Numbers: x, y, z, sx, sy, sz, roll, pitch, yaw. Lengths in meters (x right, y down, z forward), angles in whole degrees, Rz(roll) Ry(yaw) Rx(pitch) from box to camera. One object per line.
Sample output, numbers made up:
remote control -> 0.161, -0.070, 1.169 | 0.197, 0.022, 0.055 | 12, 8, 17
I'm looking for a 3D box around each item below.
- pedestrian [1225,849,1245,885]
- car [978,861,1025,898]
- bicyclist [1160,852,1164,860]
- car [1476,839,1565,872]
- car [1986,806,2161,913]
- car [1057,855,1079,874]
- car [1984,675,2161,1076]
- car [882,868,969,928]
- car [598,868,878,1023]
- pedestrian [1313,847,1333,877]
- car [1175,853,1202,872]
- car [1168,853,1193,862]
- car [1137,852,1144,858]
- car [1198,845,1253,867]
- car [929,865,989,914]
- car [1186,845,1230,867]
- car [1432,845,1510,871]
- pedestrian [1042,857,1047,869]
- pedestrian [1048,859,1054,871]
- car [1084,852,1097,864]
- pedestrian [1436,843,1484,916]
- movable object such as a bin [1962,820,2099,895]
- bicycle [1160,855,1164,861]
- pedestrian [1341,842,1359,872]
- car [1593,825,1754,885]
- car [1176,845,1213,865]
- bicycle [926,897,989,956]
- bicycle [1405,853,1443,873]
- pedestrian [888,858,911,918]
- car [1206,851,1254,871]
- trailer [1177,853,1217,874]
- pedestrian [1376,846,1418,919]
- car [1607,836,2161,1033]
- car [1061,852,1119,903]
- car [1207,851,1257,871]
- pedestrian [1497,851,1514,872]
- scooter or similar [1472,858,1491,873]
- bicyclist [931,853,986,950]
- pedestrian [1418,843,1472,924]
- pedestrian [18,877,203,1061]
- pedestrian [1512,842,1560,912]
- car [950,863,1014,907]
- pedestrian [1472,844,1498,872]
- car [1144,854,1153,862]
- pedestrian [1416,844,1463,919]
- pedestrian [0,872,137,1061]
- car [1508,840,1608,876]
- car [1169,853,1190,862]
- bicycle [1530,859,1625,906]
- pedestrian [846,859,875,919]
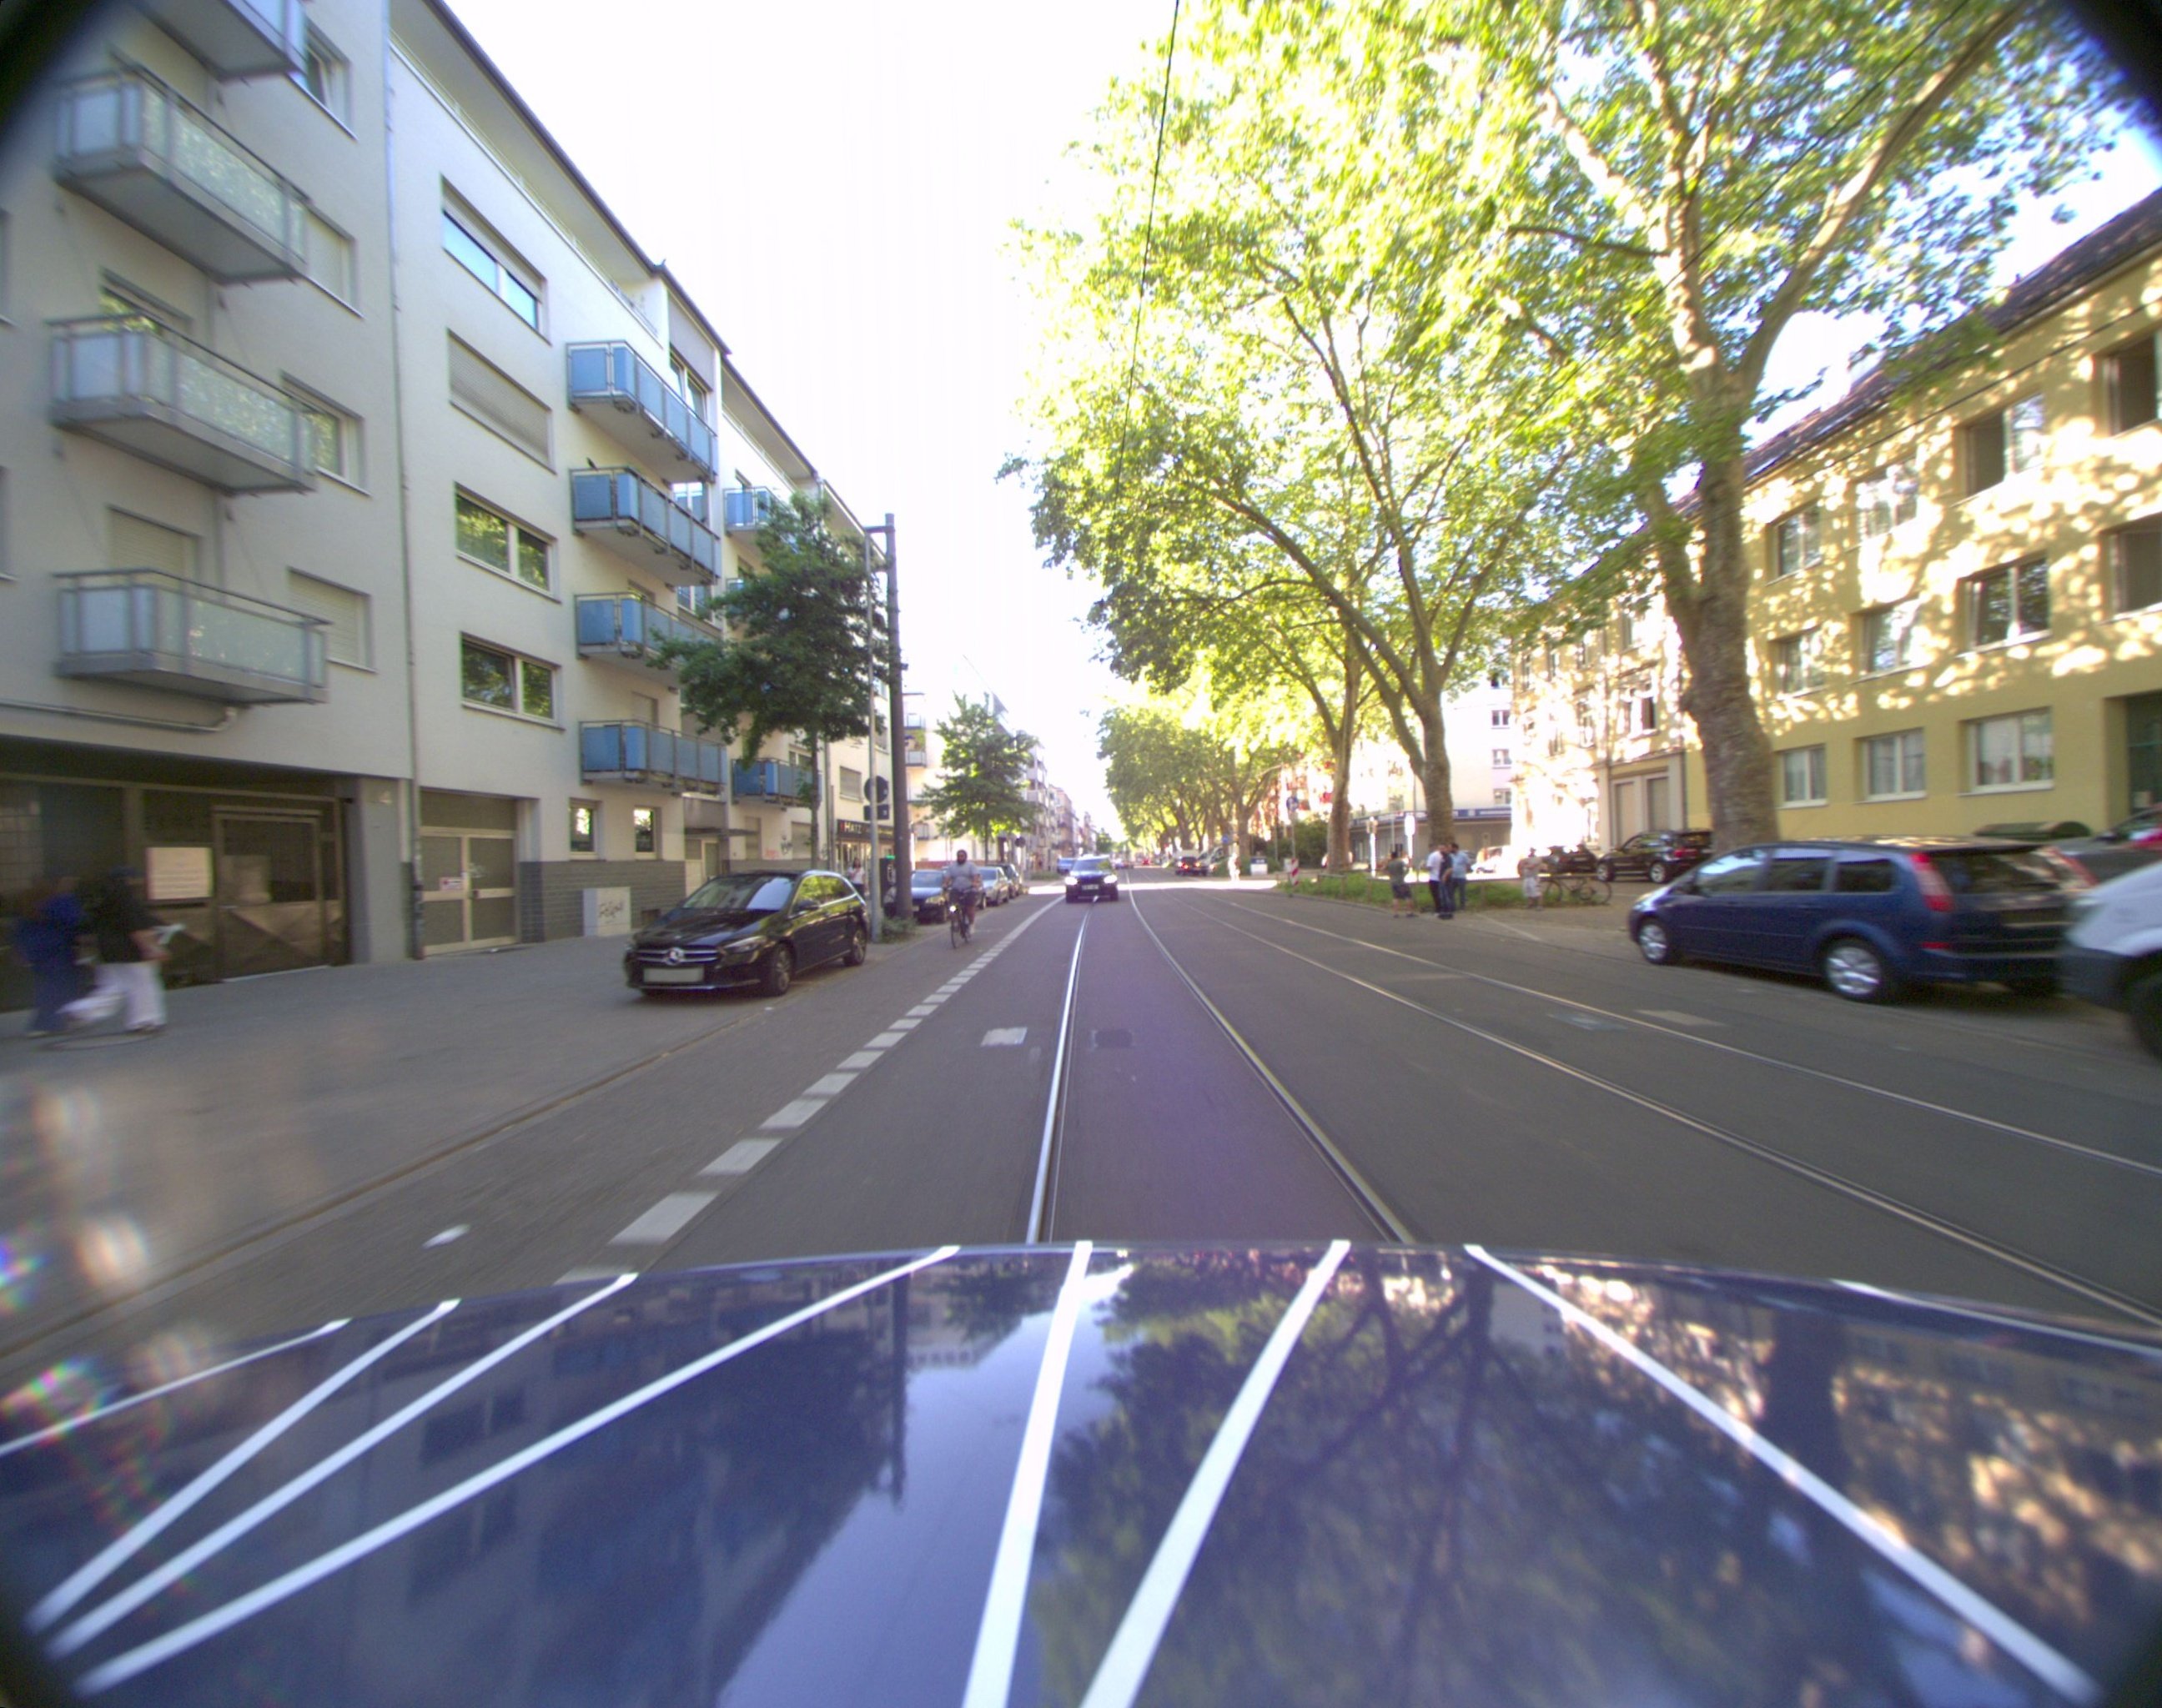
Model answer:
pedestrian -> 7.980, 0.666, 39.276 | 0.700, 1.781, 0.801 | -3, 1, -9
car -> -3.649, 1.127, 35.497 | 1.724, 1.562, 4.259 | 1, 0, 0
bicyclist -> 13.313, 0.295, 124.917 | 0.533, 1.206, 0.666 | -3, 1, 3
car -> 25.410, 0.131, 44.047 | 4.011, 1.627, 1.801 | -3, -3, 2
car -> 18.559, 0.051, 12.360 | 1.998, 1.723, 4.899 | -3, 0, 4
car -> -1.420, 1.150, 84.158 | 1.957, 1.914, 4.001 | -3, 0, 4
car -> 7.759, 0.120, 2.752 | 2.112, 2.562, 6.025 | -3, 0, 5
car -> -4.285, 1.160, 21.447 | 1.626, 1.473, 3.890 | 1, 0, 0
car -> -4.392, 1.048, 10.593 | 1.763, 1.578, 4.329 | 2, 0, 3
pedestrian -> 14.214, 0.477, 44.624 | 0.741, 1.747, 0.733 | -3, 1, -39
car -> 9.694, 0.729, 68.556 | 1.927, 1.674, 4.182 | 0, 0, 1
car -> 17.276, 0.574, 131.704 | 3.996, 1.458, 2.000 | -3, 0, 1
car -> 20.114, 0.353, 256.404 | 1.998, 1.723, 4.400 | -3, 0, 3
car -> 14.792, 0.149, 77.713 | 5.133, 1.984, 2.000 | -3, 1, -2
car -> -4.050, 1.140, 25.571 | 1.447, 1.528, 2.882 | 0, 0, 3
car -> 14.373, 0.195, 86.423 | 4.660, 2.292, 2.000 | -3, 1, 3
car -> 25.687, 0.247, 50.134 | 4.152, 1.469, 1.835 | -3, 1, 2
pedestrian -> -4.689, 1.161, 97.936 | 0.590, 1.493, 0.600 | -3, 1, 3
pedestrian -> -4.168, 1.570, 106.189 | 0.697, 1.685, 0.678 | -3, 1, 3
car -> 1.699, 0.676, 134.464 | 1.990, 2.085, 4.471 | -3, 0, 4
pedestrian -> 9.266, 0.611, 18.598 | 0.770, 1.725, 0.717 | -3, 1, 1
movable object such as a bin -> 20.303, 0.071, 16.299 | 1.233, 1.493, 1.343 | -3, 1, 2
bicycle -> 13.335, 0.638, 124.917 | 0.533, 0.900, 1.557 | -3, 0, 4
pedestrian -> 16.192, 0.198, 45.756 | 0.724, 1.770, 0.669 | -3, 1, -6
car -> 19.654, 0.015, 25.522 | 1.998, 1.726, 4.697 | -3, 0, 5
car -> 15.085, 0.116, 101.036 | 4.660, 2.518, 2.000 | -3, 1, 3
bicycle -> -2.398, 1.399, 14.997 | 0.790, 0.932, 1.939 | -3, 0, 3
bicycle -> 19.882, 0.503, 44.040 | 1.867, 1.056, 0.656 | -3, 1, -5
pedestrian -> -5.695, 1.065, 23.874 | 0.477, 1.841, 0.664 | -2, 0, 0
car -> 13.558, 0.595, 69.446 | 3.996, 1.635, 2.000 | -3, 1, 1
trailer -> 9.528, 0.730, 63.116 | 2.452, 1.622, 6.584 | 0, 0, 1
pedestrian -> 7.761, 0.682, 18.639 | 0.712, 1.725, 0.772 | -2, 1, 38
car -> 8.245, 0.658, 8.441 | 1.921, 1.552, 4.284 | -3, 0, 2
car -> 0.441, 0.846, 29.558 | 1.998, 1.723, 4.400 | -2, 0, 3
car -> 13.281, 0.619, 66.875 | 3.996, 1.600, 1.909 | -3, 1, 1
pedestrian -> 22.107, 0.402, 39.540 | 0.544, 1.034, 0.545 | -3, 1, -30
scooter or similar -> 21.248, 0.624, 40.315 | 0.529, 0.749, 0.896 | -3, 1, 1
bicyclist -> -2.411, 0.905, 15.072 | 0.769, 1.820, 1.099 | -3, 1, 3
pedestrian -> 8.332, 0.661, 17.411 | 0.714, 1.767, 0.769 | -3, 1, -17
pedestrian -> -9.241, 1.047, 7.275 | 0.643, 1.628, 0.870 | 0, 0, 1
pedestrian -> 10.792, 0.543, 18.013 | 0.768, 1.600, 0.715 | -2, 1, 45
car -> -3.763, 1.159, 29.557 | 1.790, 1.528, 4.128 | 1, 0, 3
pedestrian -> 21.787, 0.226, 40.972 | 0.774, 1.470, 1.069 | -3, 1, 1
car -> 15.306, 0.837, 172.198 | 1.998, 1.723, 4.400 | -3, 0, 3
pedestrian -> 8.592, 0.645, 18.219 | 0.768, 1.725, 0.715 | -2, 1, 45
pedestrian -> -9.955, 1.021, 7.292 | 0.597, 1.668, 0.934 | 0, 1, 1
car -> 20.280, 0.151, 32.499 | 1.783, 1.379, 4.000 | -3, 0, 1
car -> 19.432, 0.703, 149.802 | 3.996, 1.458, 2.000 | -3, 0, 1
bicycle -> 11.908, 0.688, 18.296 | 1.847, 1.073, 0.570 | -2, 1, 30
pedestrian -> -6.870, 1.081, 23.683 | 0.665, 1.841, 0.538 | -3, 1, -36
